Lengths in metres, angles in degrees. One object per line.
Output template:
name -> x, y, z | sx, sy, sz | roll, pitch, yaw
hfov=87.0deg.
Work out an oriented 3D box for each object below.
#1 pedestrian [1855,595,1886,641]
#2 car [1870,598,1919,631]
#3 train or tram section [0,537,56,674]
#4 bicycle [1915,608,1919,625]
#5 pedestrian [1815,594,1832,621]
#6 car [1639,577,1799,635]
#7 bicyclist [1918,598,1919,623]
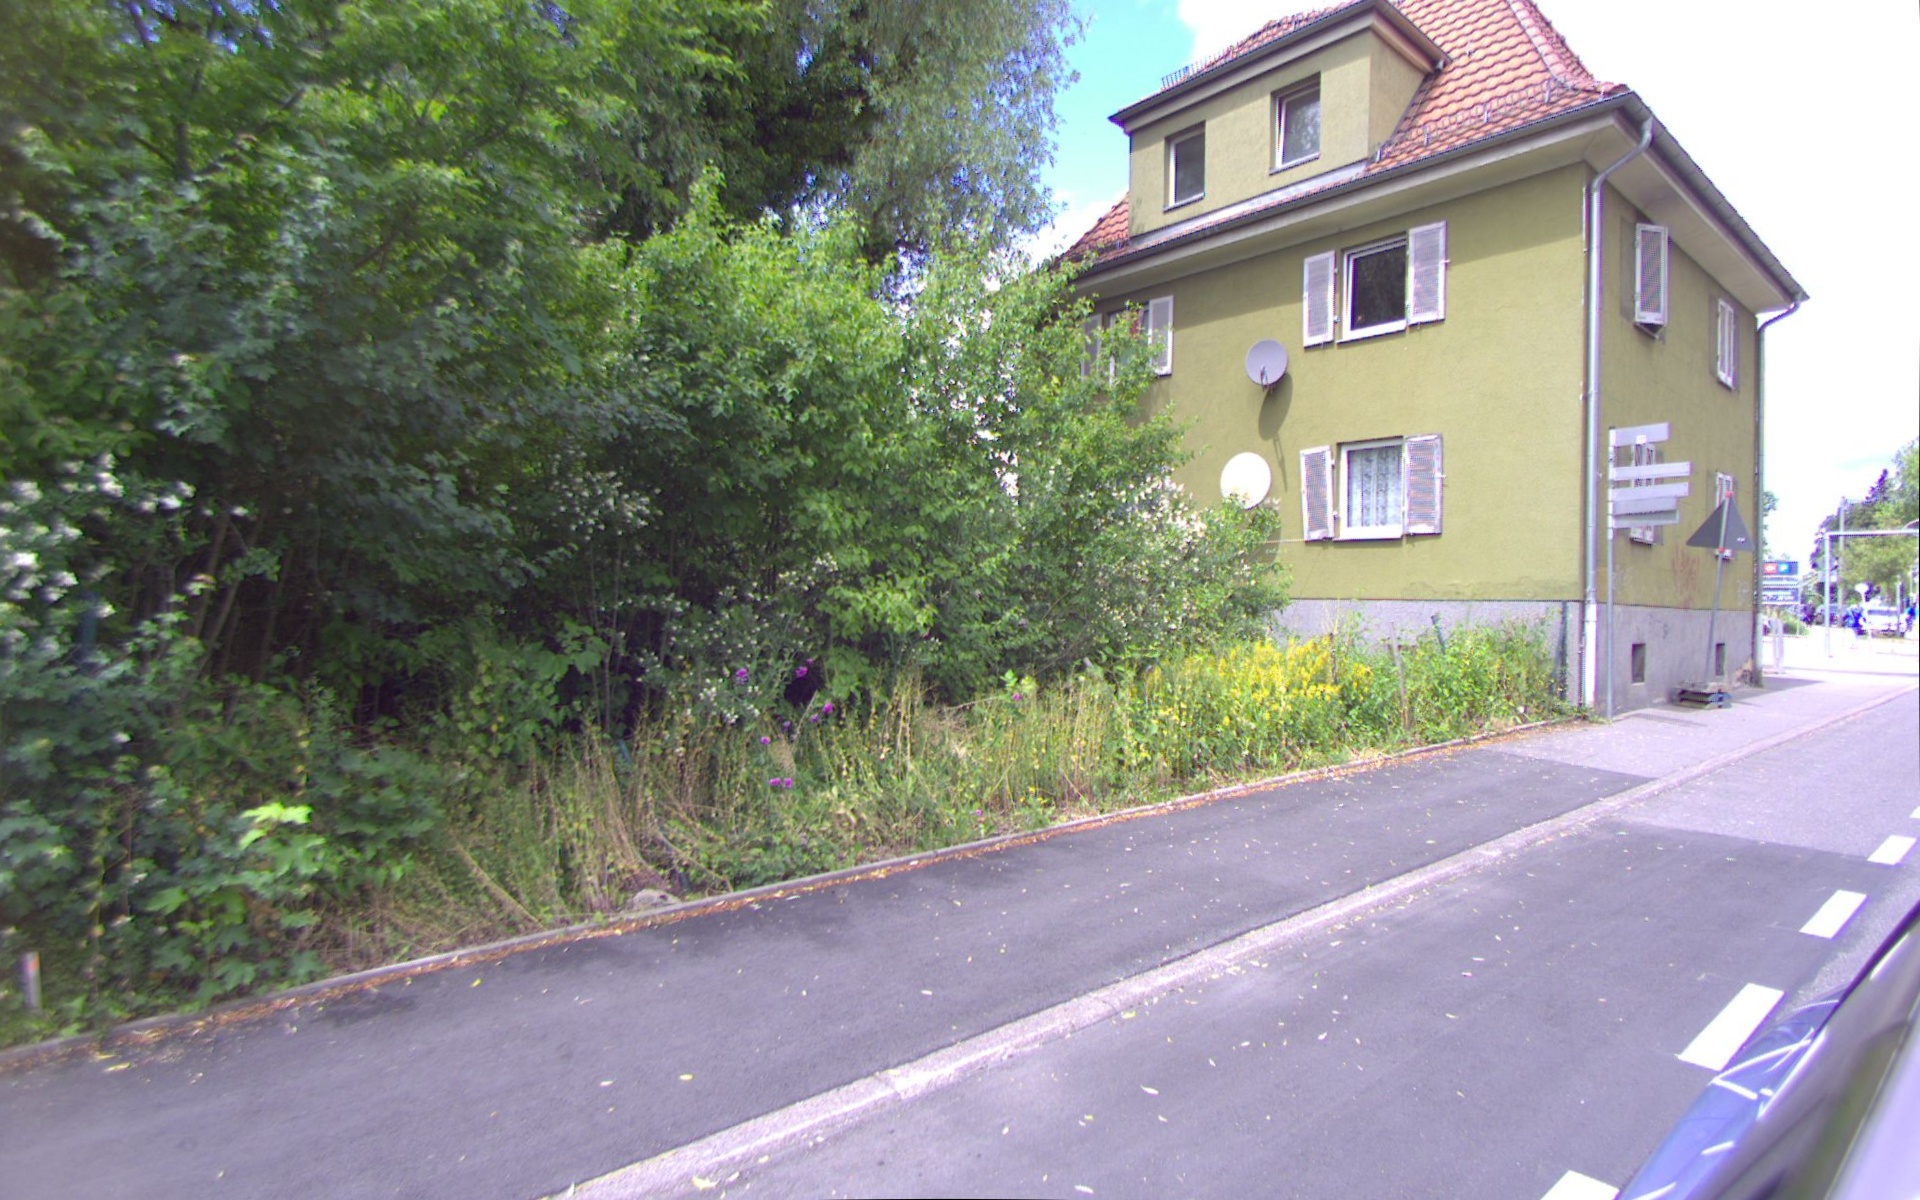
pedestrian -> 31.342, 0.610, 34.835 | 0.726, 1.572, 1.042 | 1, 0, 39
car -> 47.601, 0.700, 51.271 | 3.931, 1.529, 1.797 | 0, 3, -42
train or tram section -> -27.425, 0.149, 26.384 | 2.809, 3.769, 7.731 | 0, -1, -17
bicycle -> 62.733, 1.052, 65.501 | 0.806, 1.122, 1.784 | -1, -1, 26
pedestrian -> 54.545, 0.487, 63.947 | 0.765, 1.683, 0.721 | 1, -3, -45
car -> 28.294, 0.166, 37.886 | 1.961, 2.019, 4.374 | 0, 1, -32
bicyclist -> 62.711, 0.691, 65.487 | 0.799, 1.629, 0.765 | -2, -2, 26
